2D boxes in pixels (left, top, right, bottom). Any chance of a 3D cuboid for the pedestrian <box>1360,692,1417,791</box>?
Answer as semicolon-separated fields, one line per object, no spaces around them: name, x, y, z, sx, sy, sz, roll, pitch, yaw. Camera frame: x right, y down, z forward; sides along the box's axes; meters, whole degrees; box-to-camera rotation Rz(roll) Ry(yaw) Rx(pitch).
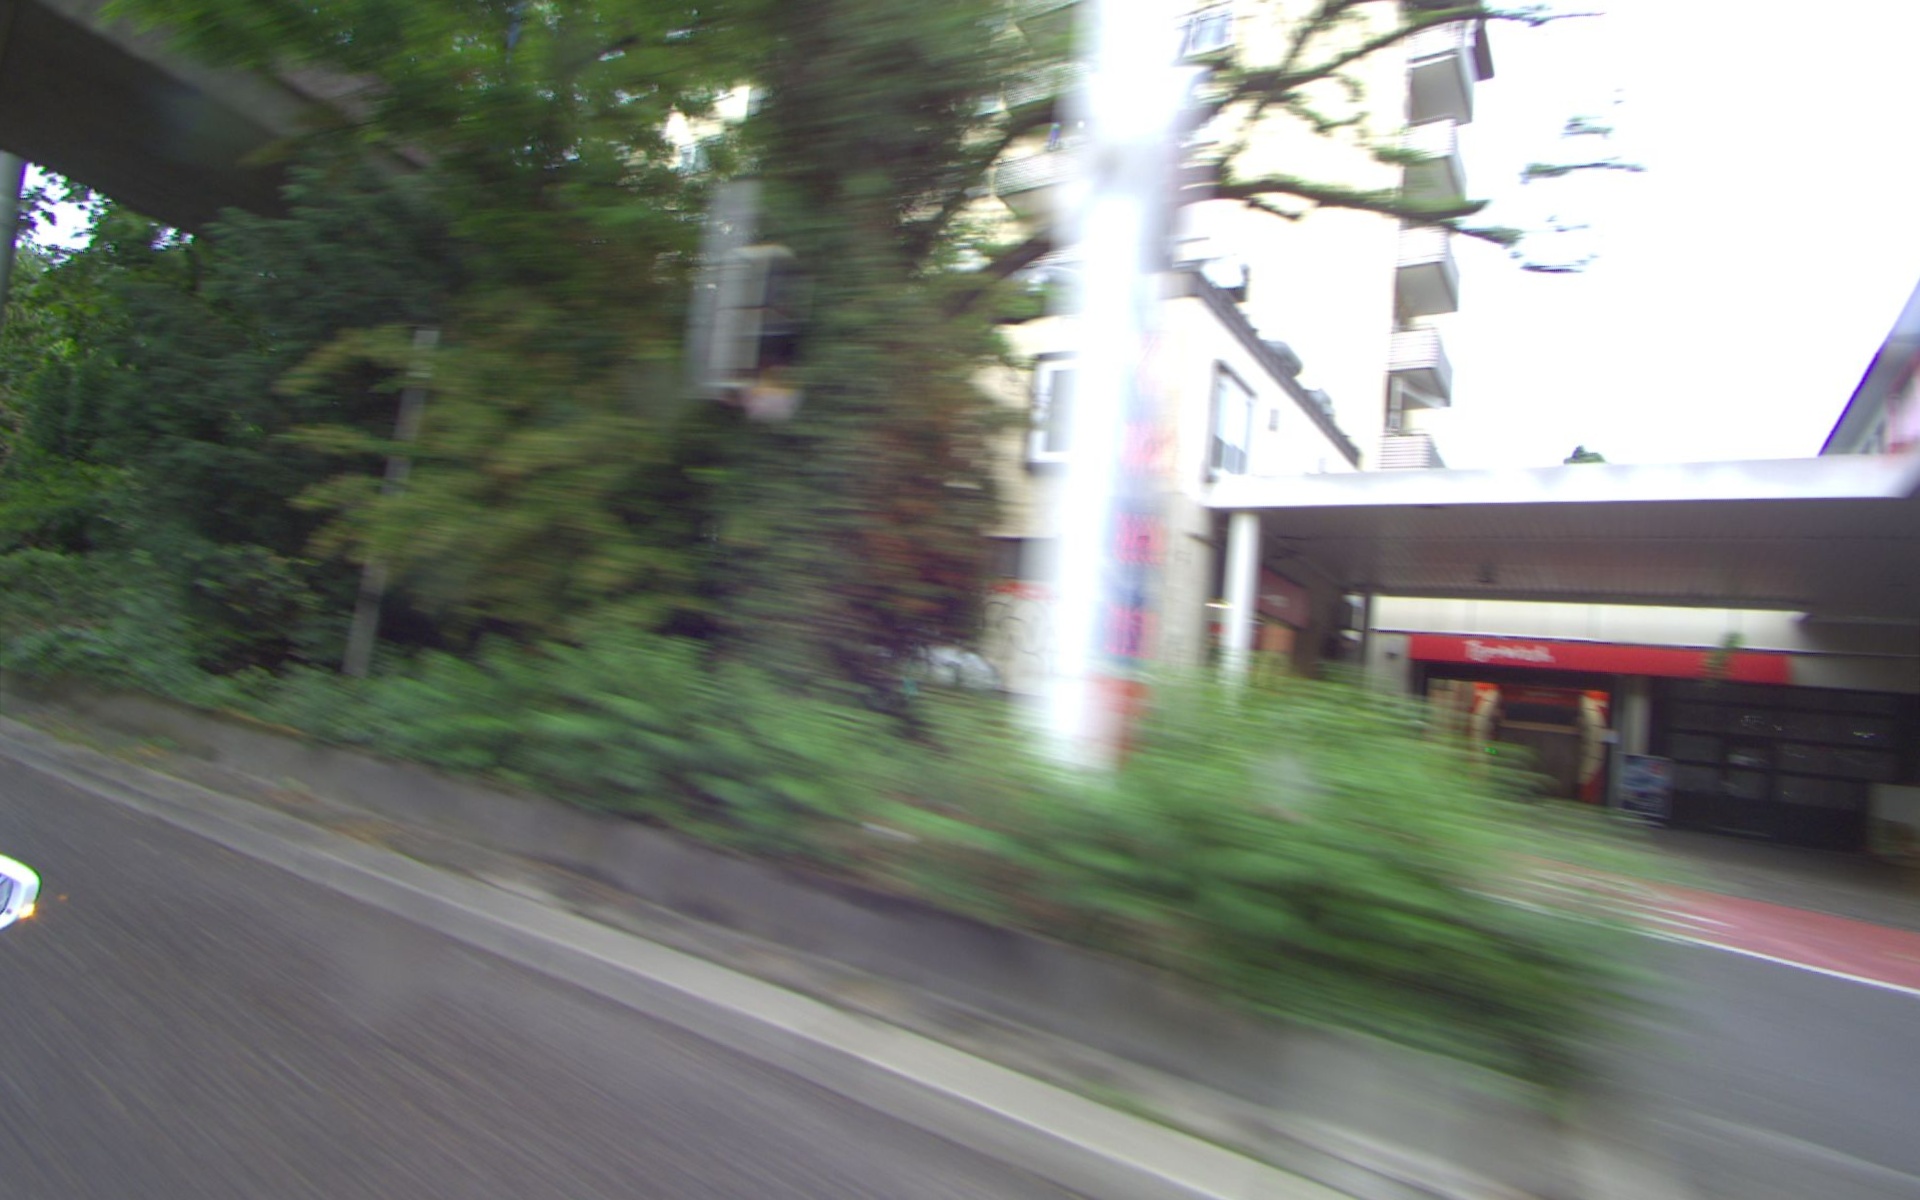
pedestrian;8.757;2.881;20.578;0.661;1.888;0.689;9;-5;-3
